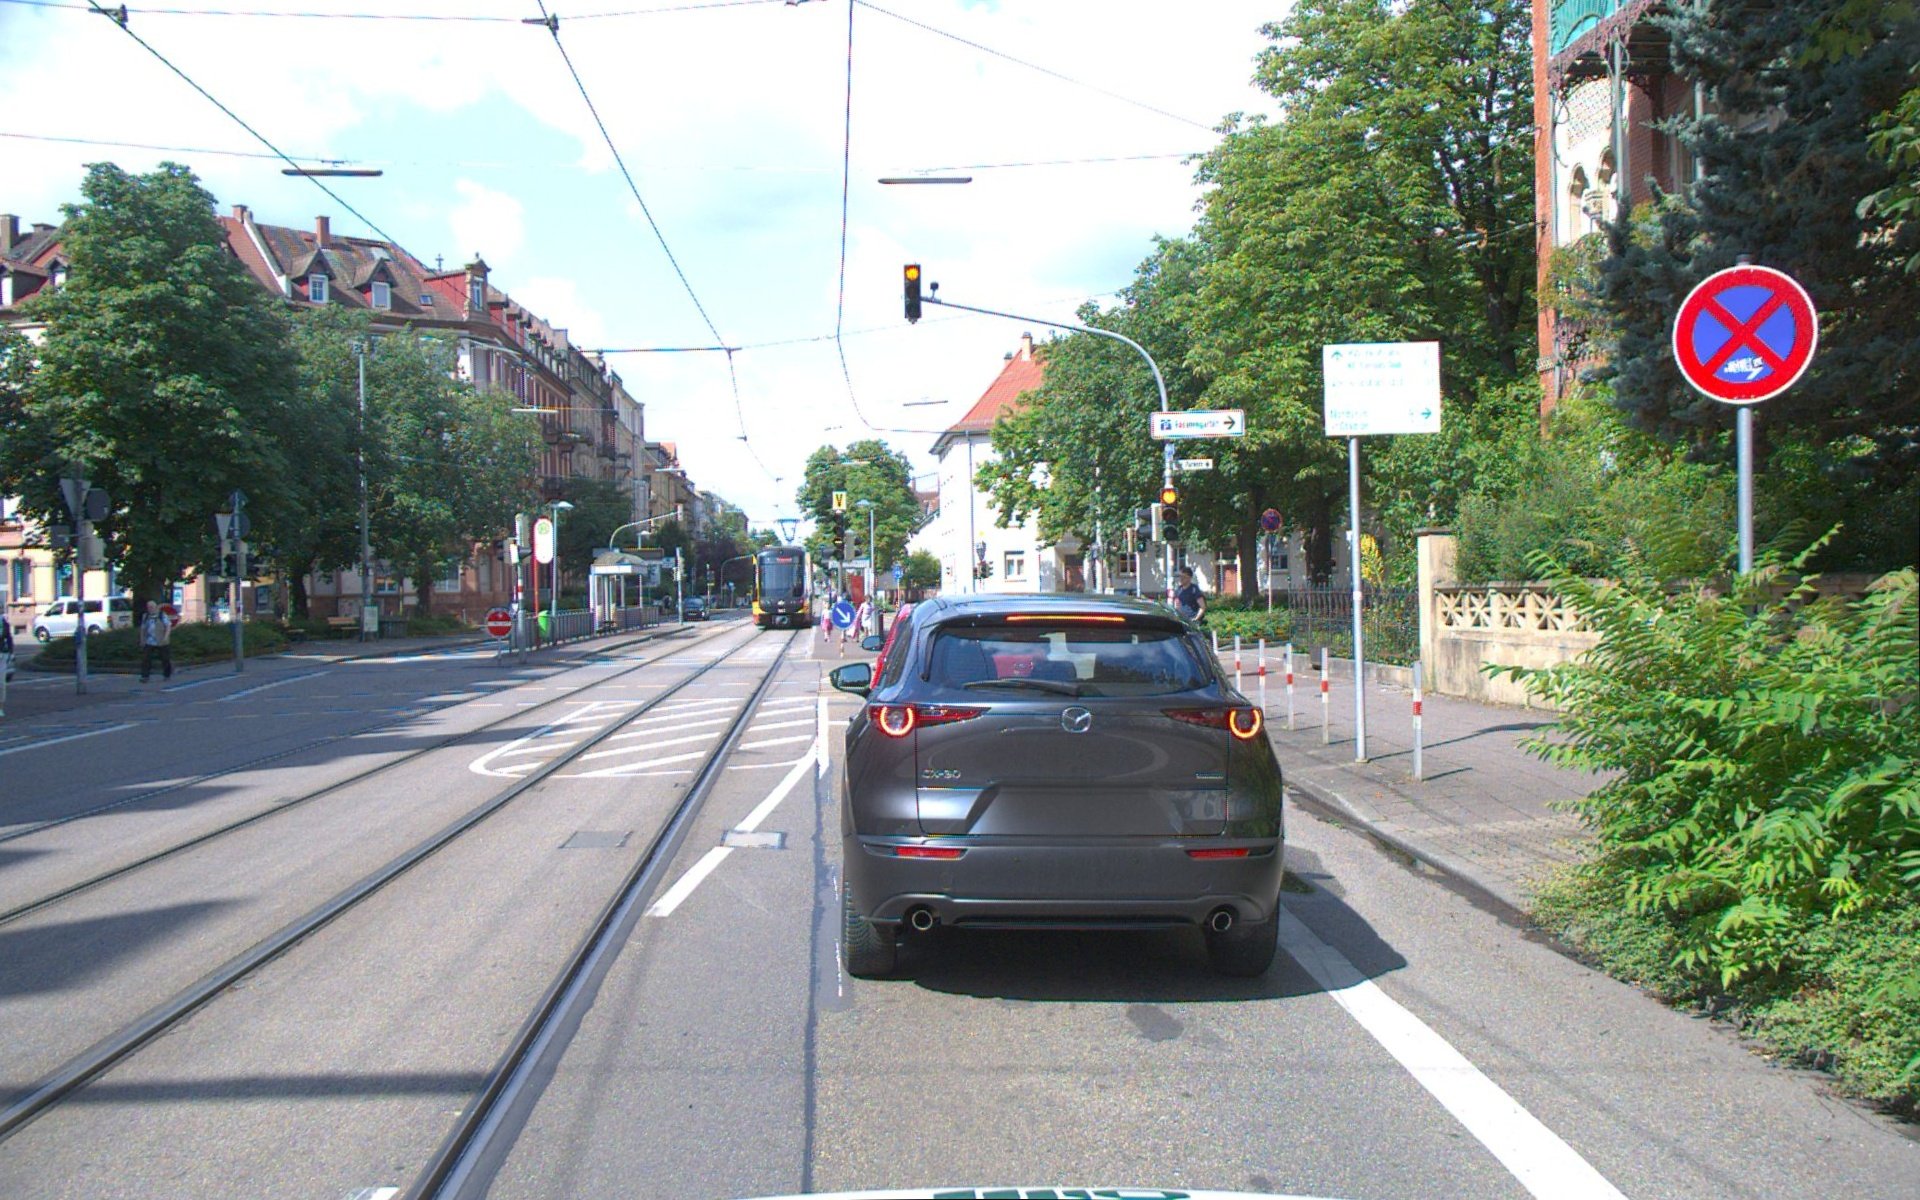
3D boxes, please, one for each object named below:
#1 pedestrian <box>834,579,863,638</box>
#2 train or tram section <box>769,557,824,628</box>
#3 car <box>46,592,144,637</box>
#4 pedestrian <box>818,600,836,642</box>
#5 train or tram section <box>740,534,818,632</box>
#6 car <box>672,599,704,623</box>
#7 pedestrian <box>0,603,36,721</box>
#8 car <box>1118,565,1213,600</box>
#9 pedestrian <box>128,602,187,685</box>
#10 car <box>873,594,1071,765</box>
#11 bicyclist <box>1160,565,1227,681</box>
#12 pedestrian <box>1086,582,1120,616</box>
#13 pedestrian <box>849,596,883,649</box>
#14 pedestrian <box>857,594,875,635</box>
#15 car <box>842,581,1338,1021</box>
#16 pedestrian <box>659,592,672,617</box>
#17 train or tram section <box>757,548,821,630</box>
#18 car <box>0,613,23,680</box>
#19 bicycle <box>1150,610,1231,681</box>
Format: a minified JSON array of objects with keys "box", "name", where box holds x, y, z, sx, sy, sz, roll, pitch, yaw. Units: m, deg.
[{"box":[-3.102,0.236,45.893,0.714,1.593,0.797,-1,0,-9],"name":"pedestrian"},{"box":[-10.120,-0.358,103.630,2.938,4.053,13.796,-1,-1,-4],"name":"train or tram section"},{"box":[-40.048,0.656,76.592,3.853,2.023,1.857,-1,0,19],"name":"car"},{"box":[-3.716,0.584,46.077,0.414,1.127,0.438,-3,0,-8],"name":"pedestrian"},{"box":[-8.171,-0.631,76.209,2.938,4.053,13.796,-1,-1,-4],"name":"train or tram section"},{"box":[-16.772,0.666,102.142,1.593,1.411,3.433,-3,1,-4],"name":"car"},{"box":[-14.683,0.927,25.147,0.741,1.734,0.873,3,0,-5],"name":"pedestrian"},{"box":[9.728,-0.817,78.526,4.091,1.536,1.844,-1,2,38],"name":"car"},{"box":[-16.902,0.908,34.852,0.837,1.702,0.821,-1,0,-3],"name":"pedestrian"},{"box":[0.008,0.695,16.476,1.740,1.489,3.840,0,0,-3],"name":"car"},{"box":[3.794,0.366,26.889,0.724,1.851,0.813,-1,0,-27],"name":"bicyclist"},{"box":[5.707,-0.048,65.975,1.170,1.291,0.557,-3,0,-10],"name":"pedestrian"},{"box":[-2.443,0.573,43.063,0.700,1.326,0.829,-3,0,6],"name":"pedestrian"},{"box":[-2.633,0.392,46.343,0.434,1.133,0.642,-1,0,-6],"name":"pedestrian"},{"box":[0.410,0.720,7.871,1.746,1.540,3.999,1,0,-2],"name":"car"},{"box":[-21.030,0.316,118.060,0.772,1.718,0.731,-1,0,-3],"name":"pedestrian"},{"box":[-9.172,-0.476,89.961,2.938,4.053,13.796,-1,-1,-4],"name":"train or tram section"},{"box":[-22.514,1.042,36.717,3.800,1.445,1.713,-1,0,39],"name":"car"},{"box":[3.779,0.729,27.031,0.382,1.053,1.836,-1,1,39],"name":"bicycle"}]
